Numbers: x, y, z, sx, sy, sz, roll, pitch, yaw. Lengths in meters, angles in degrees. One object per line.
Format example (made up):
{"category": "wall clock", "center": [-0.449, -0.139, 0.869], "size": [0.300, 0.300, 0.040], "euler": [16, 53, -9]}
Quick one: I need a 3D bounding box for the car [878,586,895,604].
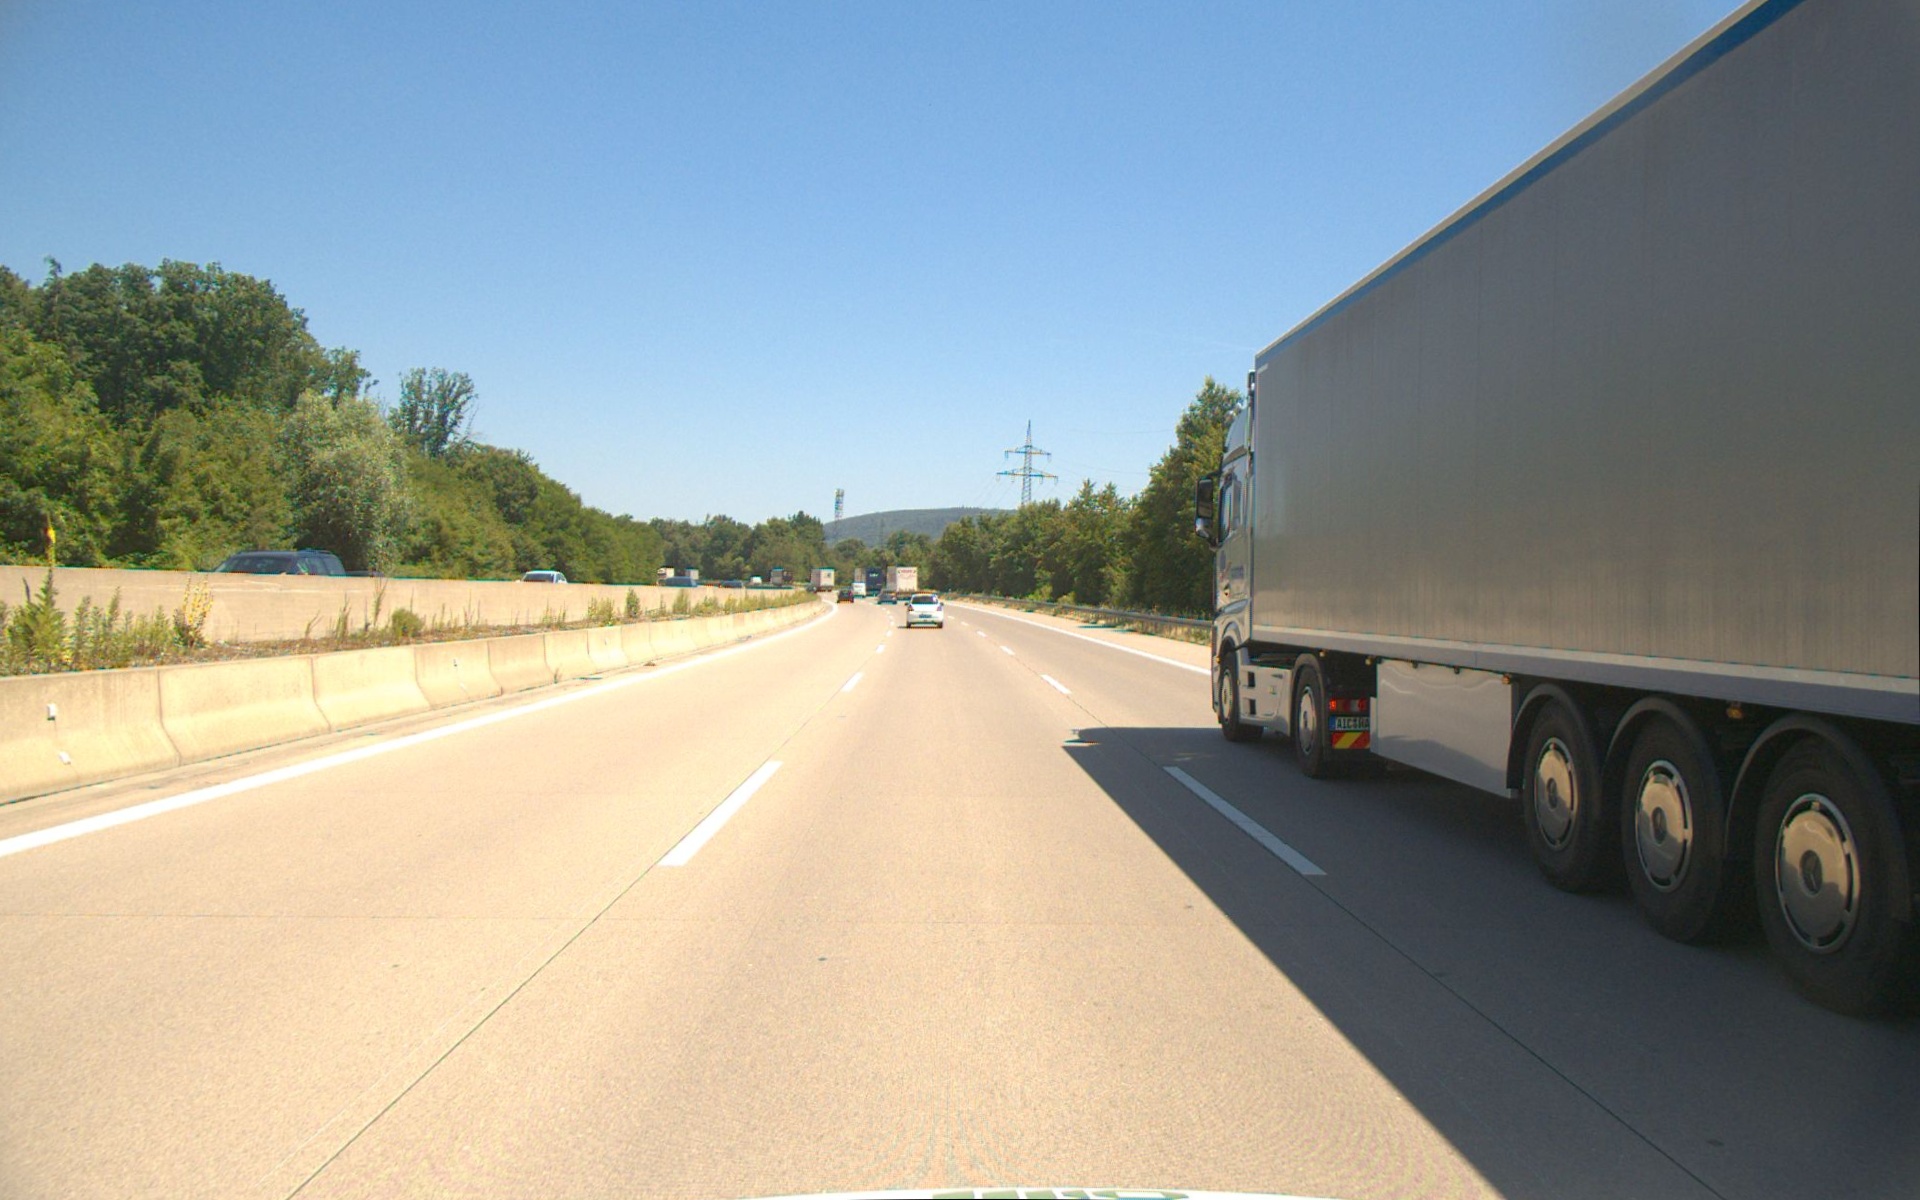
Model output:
{"category": "car", "center": [-7.388, -0.507, 166.371], "size": [1.578, 1.755, 3.571], "euler": [0, 0, -4]}

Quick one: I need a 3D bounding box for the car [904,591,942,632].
{"category": "car", "center": [-1.698, 0.513, 75.767], "size": [1.608, 1.690, 3.359], "euler": [4, 0, -2]}

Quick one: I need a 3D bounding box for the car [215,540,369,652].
{"category": "car", "center": [-12.977, -0.085, 32.344], "size": [1.602, 2.049, 3.651], "euler": [1, 0, -2]}

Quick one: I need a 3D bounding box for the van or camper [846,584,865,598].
{"category": "van or camper", "center": [-14.233, -1.267, 224.872], "size": [1.837, 1.870, 3.983], "euler": [0, 0, -16]}

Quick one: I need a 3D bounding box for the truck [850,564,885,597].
{"category": "truck", "center": [-14.042, -2.903, 249.192], "size": [3.835, 4.824, 14.019], "euler": [0, 0, -9]}

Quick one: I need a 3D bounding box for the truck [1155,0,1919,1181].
{"category": "truck", "center": [4.665, -1.126, 12.111], "size": [3.505, 5.887, 18.241], "euler": [3, 1, -2]}

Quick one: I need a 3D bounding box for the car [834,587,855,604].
{"category": "car", "center": [-12.584, -0.504, 180.369], "size": [1.982, 1.730, 3.998], "euler": [5, 0, -3]}

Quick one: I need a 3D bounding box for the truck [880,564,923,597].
{"category": "truck", "center": [-7.254, -2.346, 202.828], "size": [3.749, 3.957, 14.125], "euler": [0, 0, -8]}

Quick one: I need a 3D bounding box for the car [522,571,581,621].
{"category": "car", "center": [-17.548, -0.176, 71.134], "size": [1.601, 2.049, 4.102], "euler": [1, 0, -2]}
